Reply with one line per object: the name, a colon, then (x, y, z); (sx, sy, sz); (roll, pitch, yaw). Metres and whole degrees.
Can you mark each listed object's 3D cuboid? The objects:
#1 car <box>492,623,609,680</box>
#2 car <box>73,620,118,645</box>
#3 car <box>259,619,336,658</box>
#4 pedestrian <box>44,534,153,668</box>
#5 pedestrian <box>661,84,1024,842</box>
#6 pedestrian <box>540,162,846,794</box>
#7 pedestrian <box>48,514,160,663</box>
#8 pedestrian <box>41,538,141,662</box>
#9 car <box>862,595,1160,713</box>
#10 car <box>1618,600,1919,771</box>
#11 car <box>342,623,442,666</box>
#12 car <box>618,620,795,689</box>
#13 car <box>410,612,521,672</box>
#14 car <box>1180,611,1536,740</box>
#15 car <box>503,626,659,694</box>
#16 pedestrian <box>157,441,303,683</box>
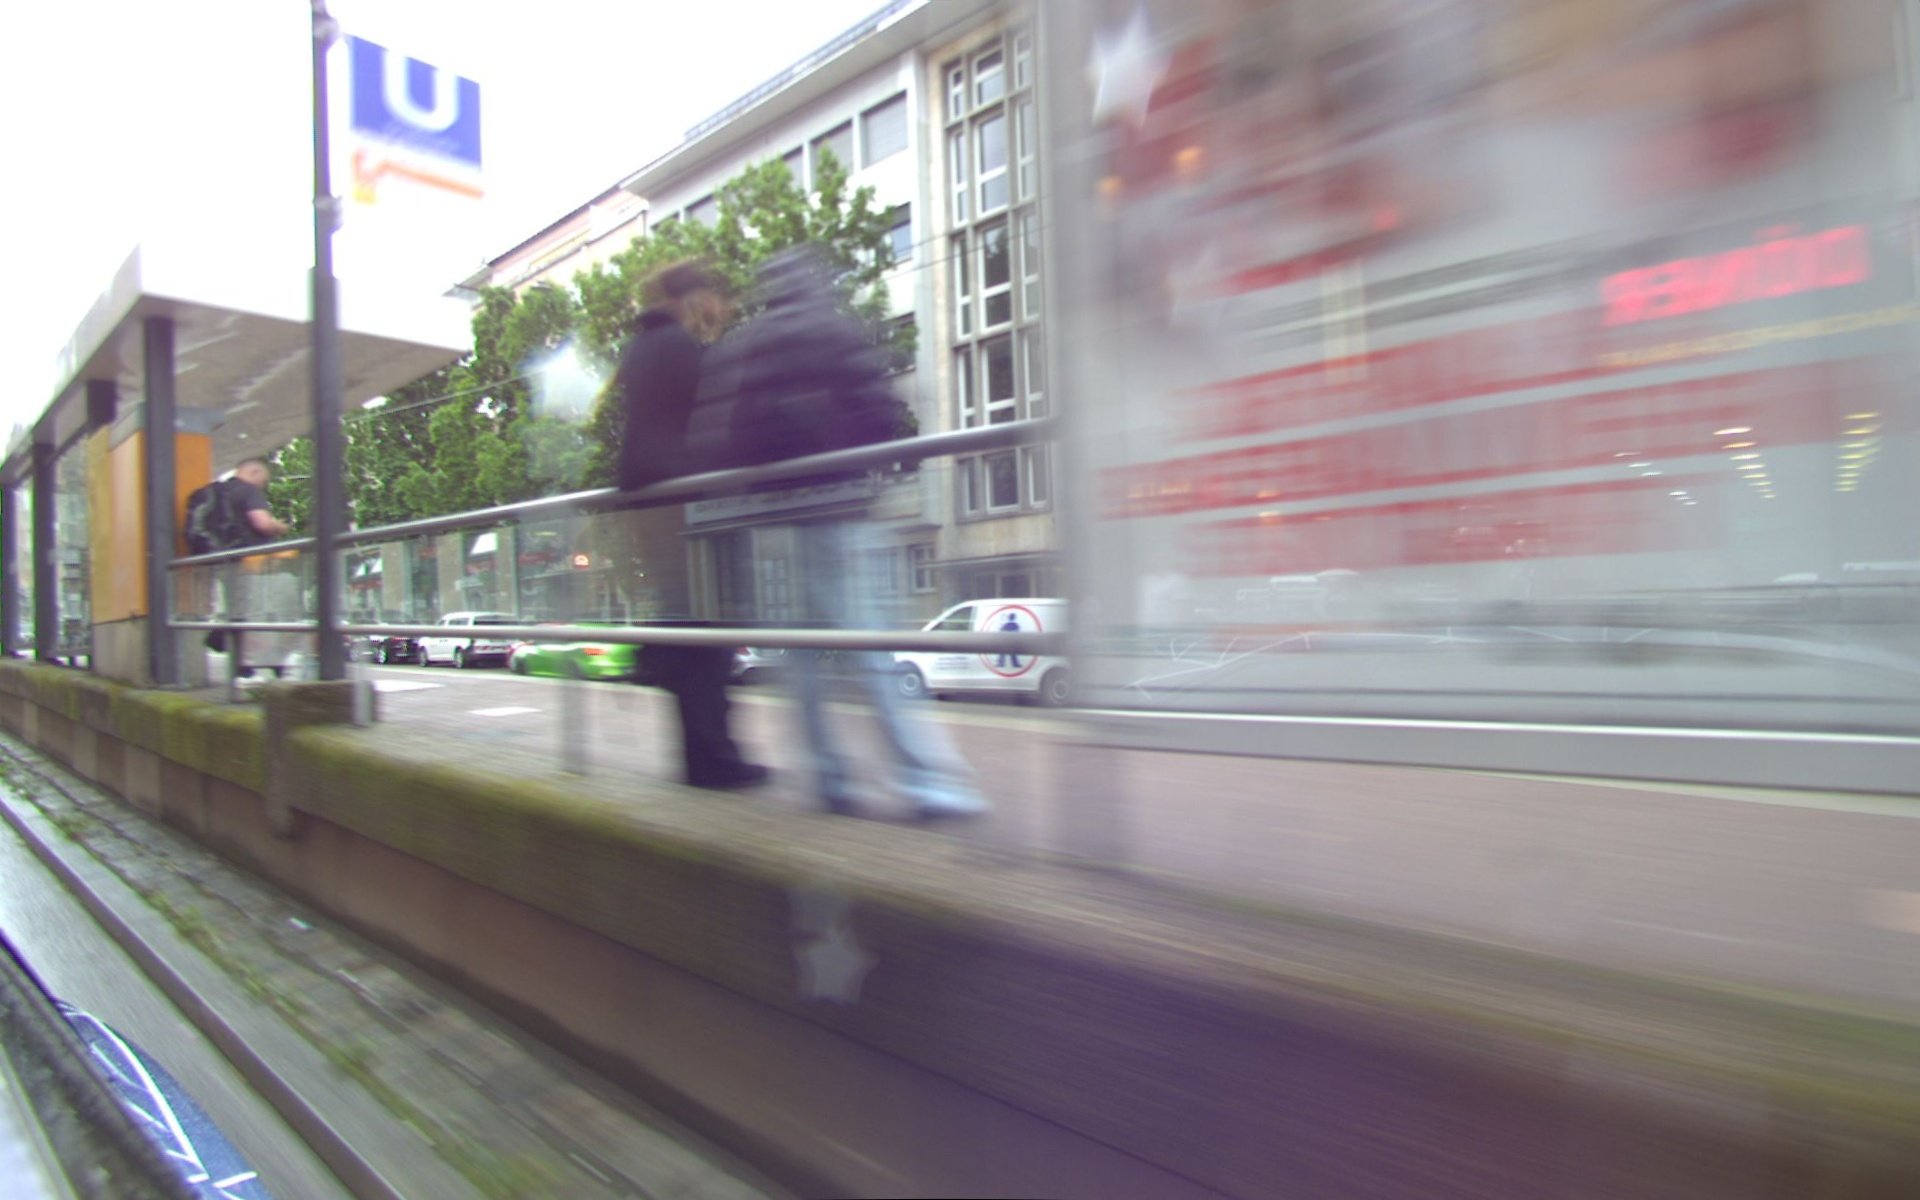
car: (-12.011, 1.458, 29.593); (3.801, 1.551, 1.622); (-1, -1, 40)
car: (-53.434, 2.003, 62.534); (3.962, 1.473, 1.621); (-1, -1, 42)
car: (-29.172, 1.659, 44.513); (4.335, 1.596, 1.641); (-1, -1, 40)
pedestrian: (-8.874, 0.023, 10.425); (0.700, 1.312, 0.720); (-1, -2, 39)
pedestrian: (-0.291, -0.281, 2.535); (0.700, 1.569, 0.577); (-1, -2, 39)
pedestrian: (-0.797, -0.308, 3.034); (0.700, 1.621, 0.577); (-1, -2, 39)
pedestrian: (-10.467, -0.126, 12.390); (0.700, 1.737, 0.907); (-1, -2, 39)
pedestrian: (-9.630, 0.010, 11.218); (0.700, 1.312, 0.720); (-1, -2, 41)
car: (0.794, 0.895, 18.287); (5.249, 1.858, 1.889); (-1, -1, 38)
car: (9.557, 0.834, 10.512); (4.370, 1.636, 1.621); (-1, -1, 42)
car: (-20.648, 1.574, 36.701); (4.726, 1.451, 1.622); (-1, -1, 40)
car: (-6.044, 1.215, 23.912); (4.525, 1.473, 1.675); (-1, -1, 39)
car: (-16.278, 1.330, 33.226); (4.429, 1.831, 1.657); (-1, -1, 40)
car: (5.429, 0.945, 14.199); (4.370, 1.548, 1.621); (-1, -1, 42)
car: (-8.328, 1.246, 22.118); (3.733, 1.348, 1.621); (-1, -1, 41)
pedestrian: (-5.482, -0.257, 7.607); (0.700, 1.706, 0.704); (-1, -2, 39)
